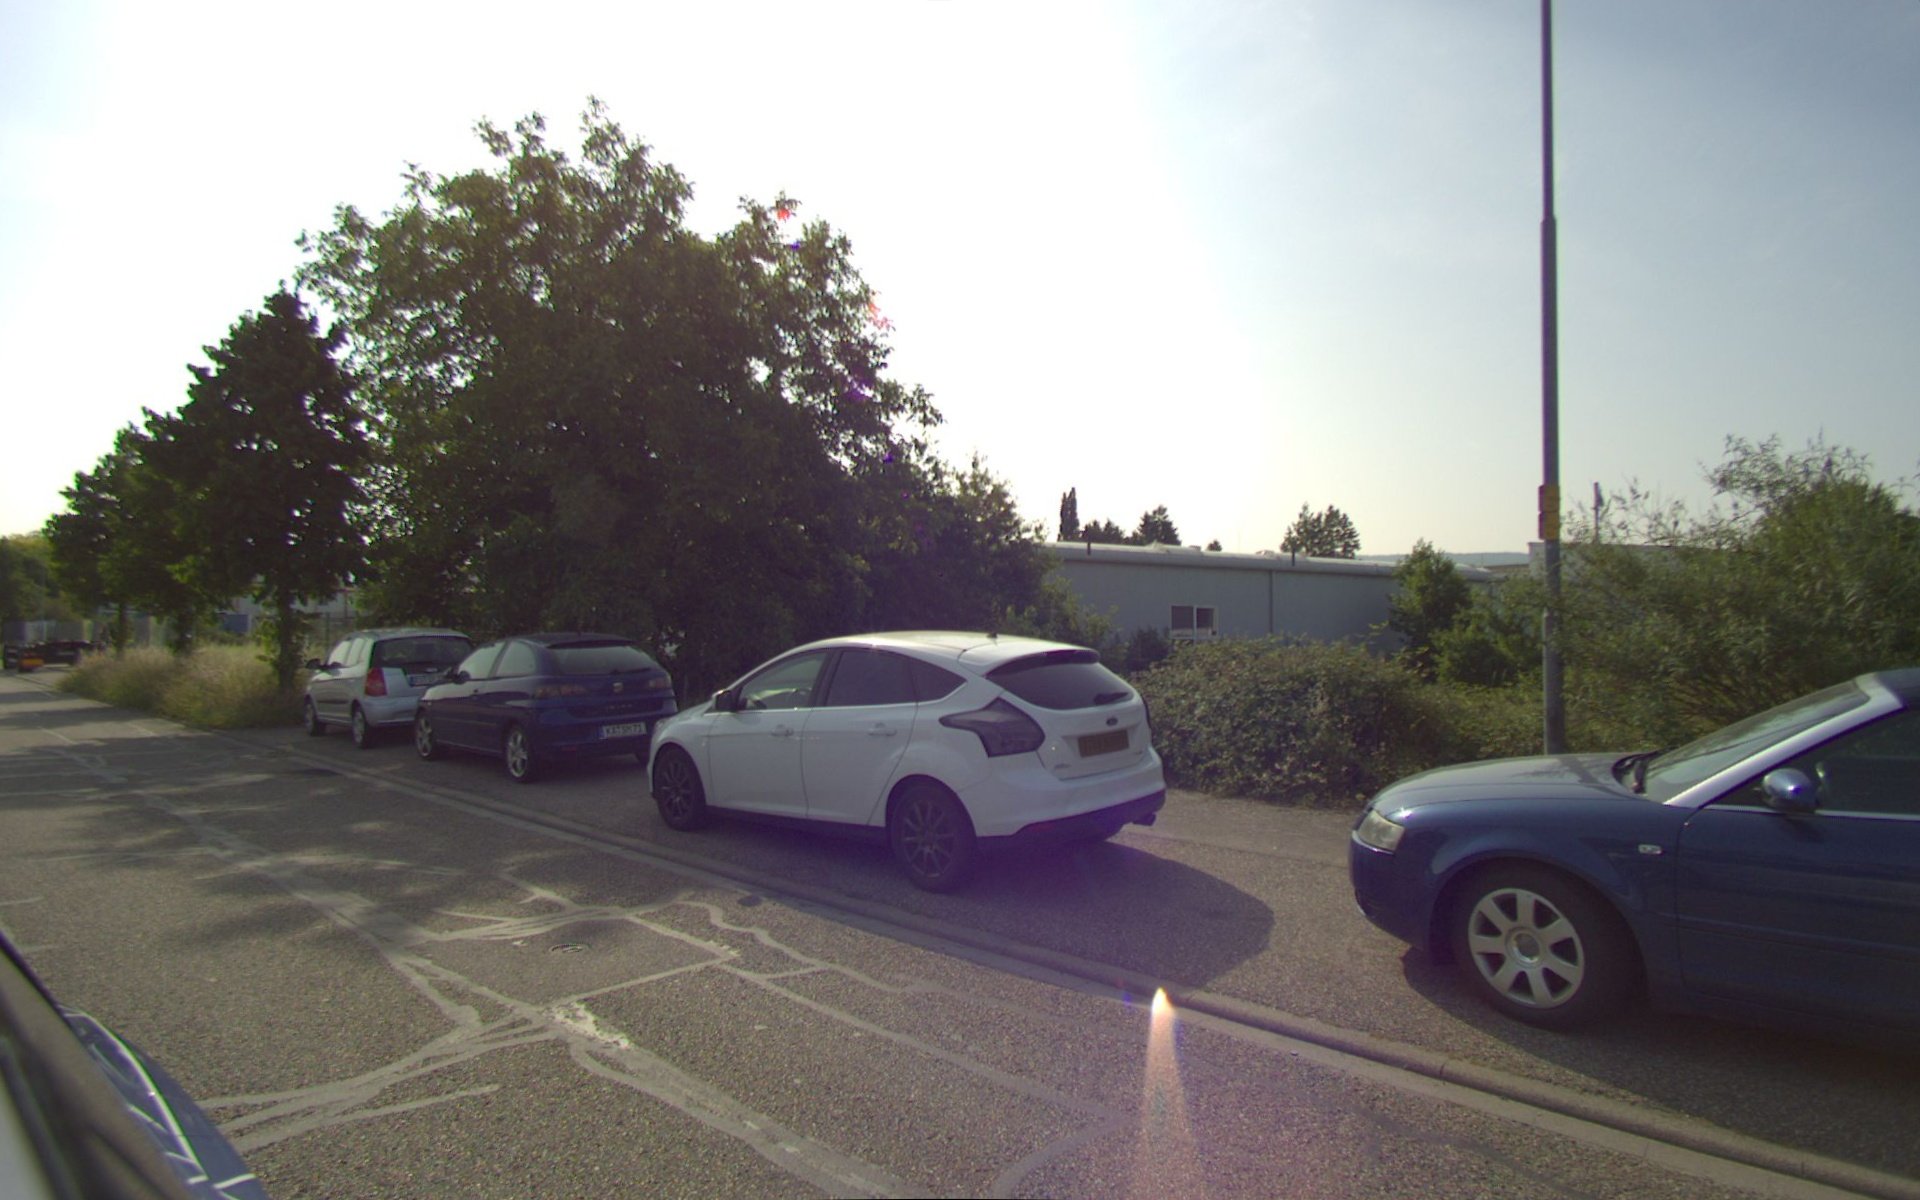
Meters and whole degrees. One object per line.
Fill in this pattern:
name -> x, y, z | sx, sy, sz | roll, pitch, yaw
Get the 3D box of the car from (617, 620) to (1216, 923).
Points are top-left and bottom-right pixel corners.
car -> -0.547, 0.917, 7.101 | 4.253, 1.480, 1.665 | -2, -1, 42

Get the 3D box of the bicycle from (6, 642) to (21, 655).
bicycle -> -71.969, 3.681, 76.943 | 2.451, 0.980, 0.556 | -2, -3, 42

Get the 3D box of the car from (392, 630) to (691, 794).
car -> -4.715, 1.077, 11.109 | 3.963, 1.454, 1.561 | -2, -1, 43

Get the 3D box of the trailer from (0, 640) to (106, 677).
trailer -> -35.733, 2.192, 39.402 | 9.360, 1.193, 2.555 | -2, -1, 42

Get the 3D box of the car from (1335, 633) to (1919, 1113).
car -> 3.731, 0.830, 3.355 | 4.368, 1.398, 1.616 | -2, -1, 42

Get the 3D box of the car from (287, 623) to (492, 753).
car -> -8.067, 1.126, 14.171 | 3.689, 1.550, 1.549 | -2, -1, 45
